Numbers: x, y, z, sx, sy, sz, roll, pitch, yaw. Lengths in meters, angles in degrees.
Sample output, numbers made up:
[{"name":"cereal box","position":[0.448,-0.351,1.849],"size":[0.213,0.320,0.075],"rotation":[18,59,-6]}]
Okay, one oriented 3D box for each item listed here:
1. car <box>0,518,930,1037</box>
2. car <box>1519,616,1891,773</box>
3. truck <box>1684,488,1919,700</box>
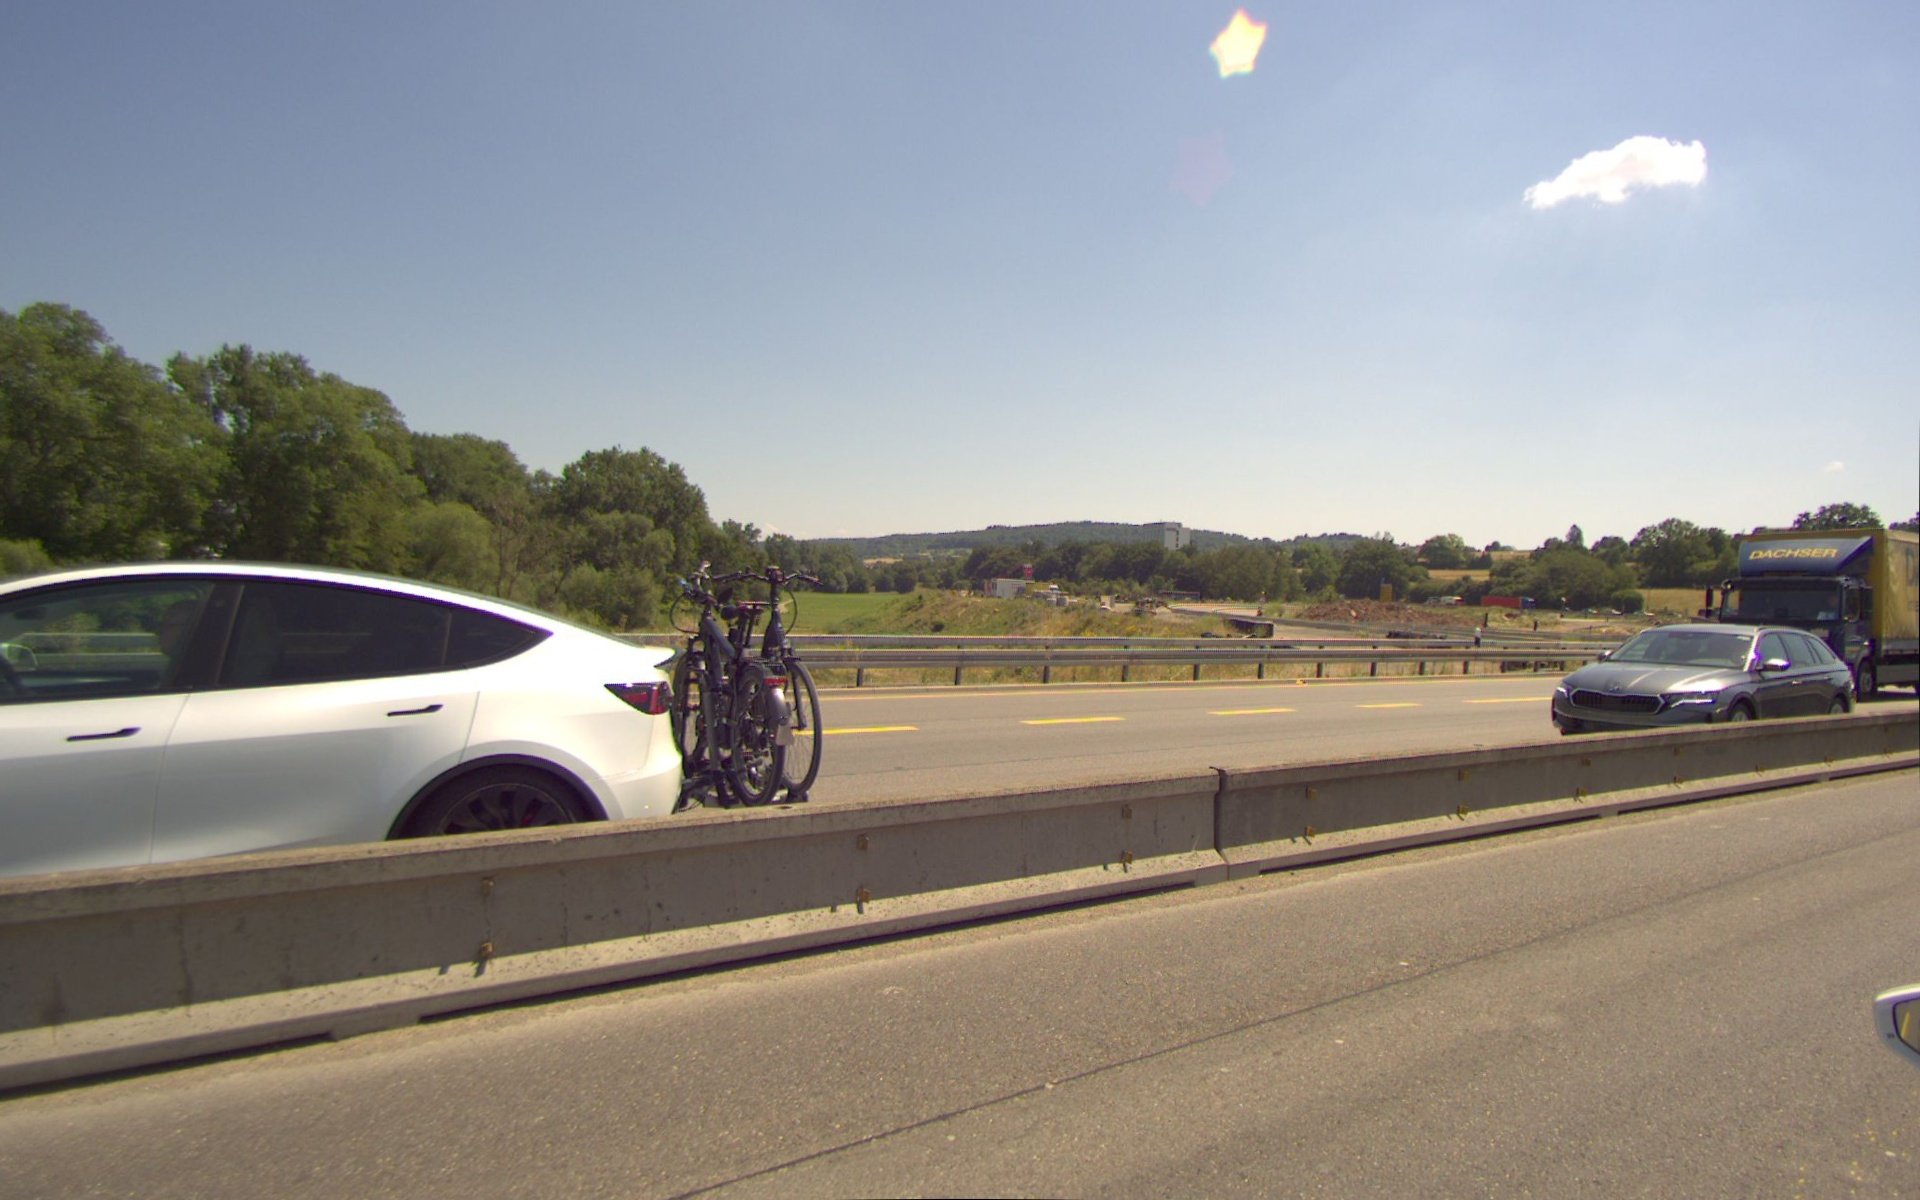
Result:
[{"name":"car","position":[-3.202,0.576,4.775],"size":[5.714,1.749,2.359],"rotation":[0,1,-31]},{"name":"car","position":[9.114,0.975,12.155],"size":[5.067,1.451,1.872],"rotation":[0,2,-32]},{"name":"truck","position":[21.082,0.000,23.759],"size":[9.967,4.207,2.787],"rotation":[2,0,-32]}]
